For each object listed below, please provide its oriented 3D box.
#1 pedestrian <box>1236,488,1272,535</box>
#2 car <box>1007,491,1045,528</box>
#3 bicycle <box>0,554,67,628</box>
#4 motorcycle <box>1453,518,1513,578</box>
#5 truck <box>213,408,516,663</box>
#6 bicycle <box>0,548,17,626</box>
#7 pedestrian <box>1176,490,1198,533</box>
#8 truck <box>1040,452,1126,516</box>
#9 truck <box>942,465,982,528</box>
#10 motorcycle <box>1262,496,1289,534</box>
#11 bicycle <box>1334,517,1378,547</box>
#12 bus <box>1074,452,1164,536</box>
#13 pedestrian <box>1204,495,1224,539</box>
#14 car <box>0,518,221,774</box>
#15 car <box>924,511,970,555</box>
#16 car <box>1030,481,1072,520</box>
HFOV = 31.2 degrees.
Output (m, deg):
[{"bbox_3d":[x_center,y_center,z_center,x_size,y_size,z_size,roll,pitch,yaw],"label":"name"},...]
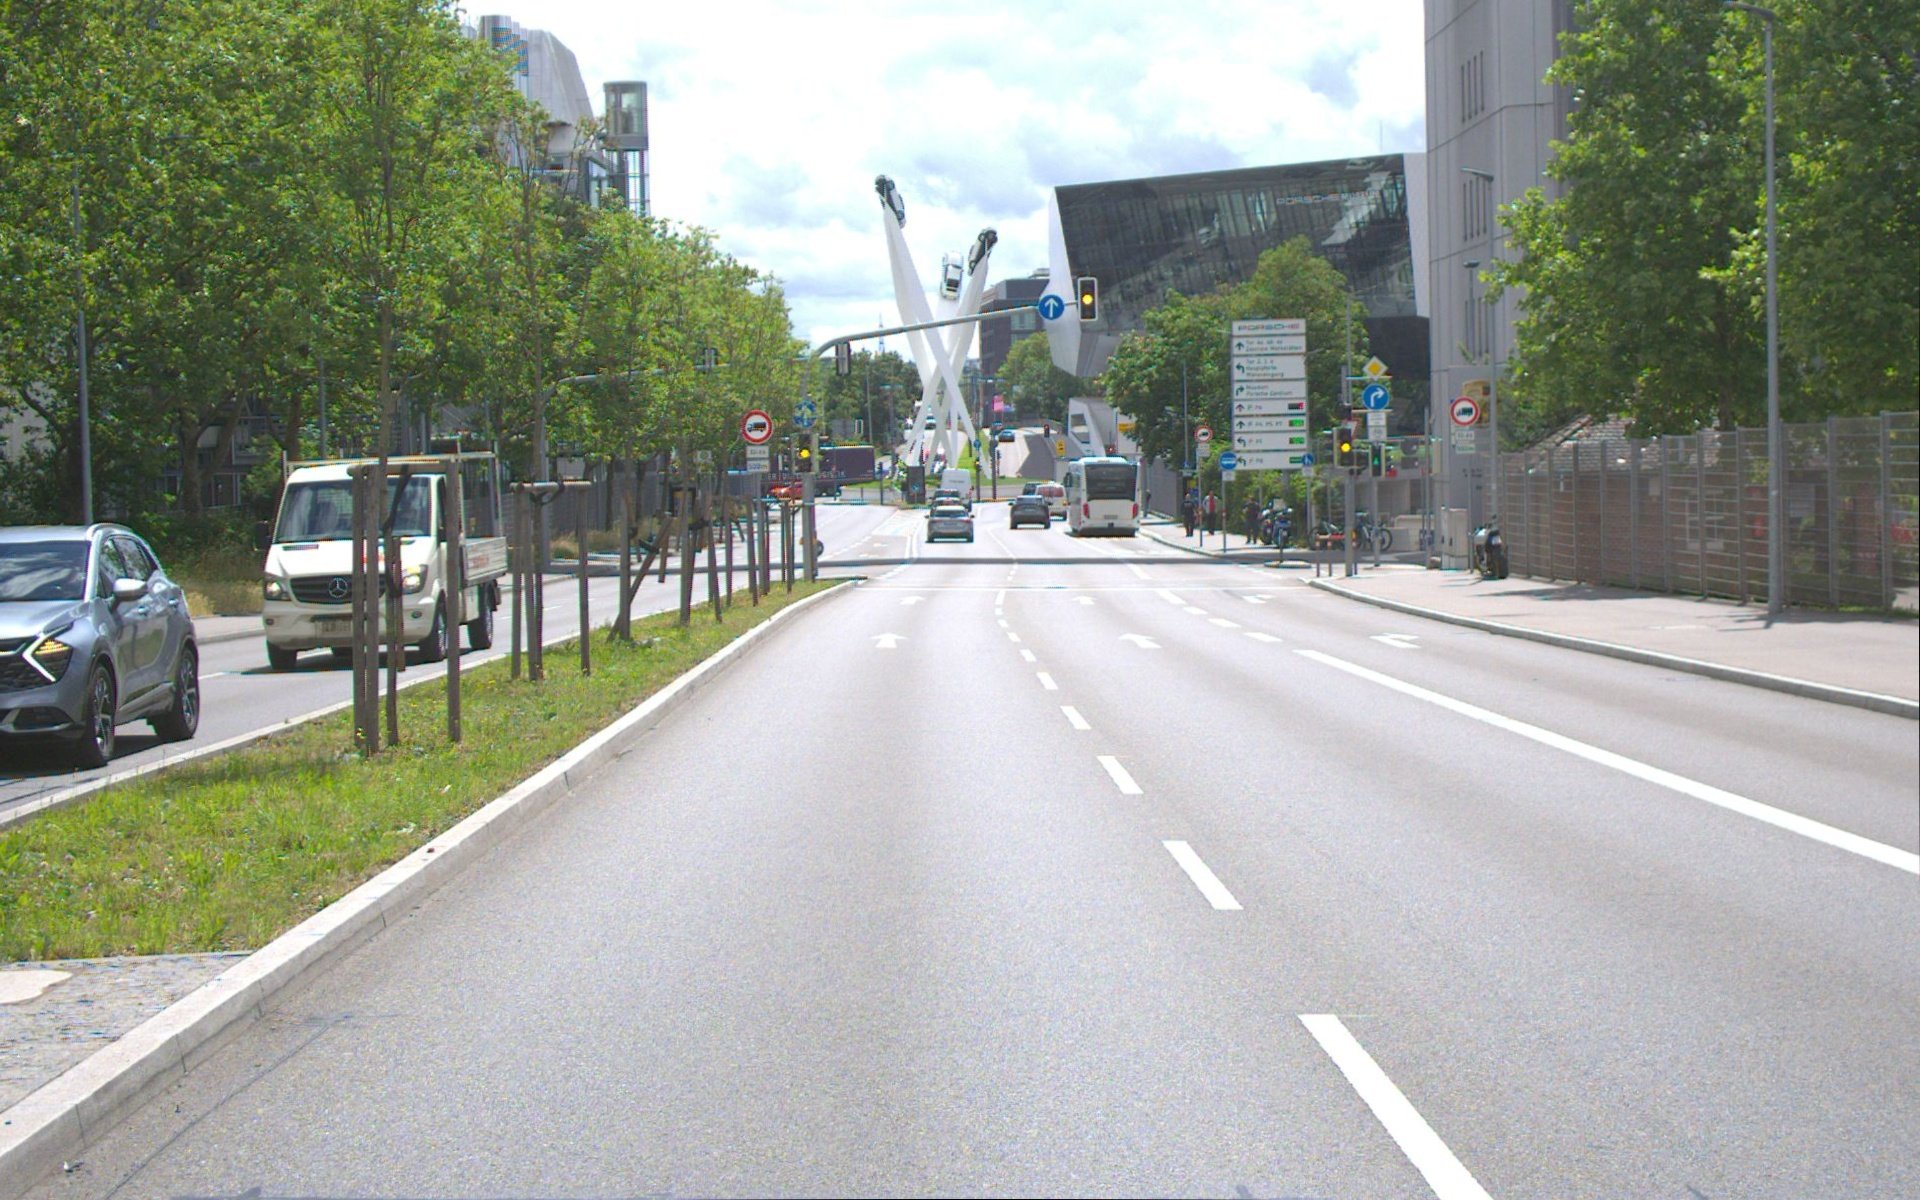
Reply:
[{"bbox_3d":[10.310,-3.111,120.605,0.849,1.619,0.954,1,2,42],"label":"pedestrian"},{"bbox_3d":[3.088,-4.240,161.421,1.738,1.735,3.691,0,1,1],"label":"car"},{"bbox_3d":[-15.557,-0.156,54.644,2.566,1.153,0.725,0,1,10],"label":"bicycle"},{"bbox_3d":[10.387,-1.039,68.390,0.692,1.154,2.148,-2,2,-4],"label":"motorcycle"},{"bbox_3d":[-6.912,-0.776,40.721,2.479,2.741,6.459,-1,1,0],"label":"truck"},{"bbox_3d":[-14.771,-0.188,49.960,1.918,1.118,0.807,0,1,-2],"label":"bicycle"},{"bbox_3d":[8.999,-3.512,136.527,0.820,1.701,0.881,0,1,1],"label":"pedestrian"},{"bbox_3d":[8.606,-8.032,238.886,3.455,4.376,9.412,0,2,19],"label":"truck"},{"bbox_3d":[0.164,-6.436,214.276,2.392,3.884,6.177,0,1,1],"label":"truck"},{"bbox_3d":[10.293,-2.786,112.182,0.706,1.199,2.024,-2,2,1],"label":"motorcycle"},{"bbox_3d":[12.232,-2.106,106.182,0.397,0.933,1.929,-1,2,-25],"label":"bicycle"},{"bbox_3d":[6.883,-4.600,150.296,3.452,3.531,10.607,0,1,0],"label":"bus"},{"bbox_3d":[10.078,-3.279,136.504,0.635,1.735,0.823,0,1,-8],"label":"pedestrian"},{"bbox_3d":[-6.594,0.250,24.027,1.905,1.625,4.293,0,1,0],"label":"car"},{"bbox_3d":[-0.499,-2.672,136.602,1.738,1.735,3.691,0,1,1],"label":"car"},{"bbox_3d":[4.993,-5.467,188.666,1.993,2.007,4.000,1,0,-3],"label":"car"}]
